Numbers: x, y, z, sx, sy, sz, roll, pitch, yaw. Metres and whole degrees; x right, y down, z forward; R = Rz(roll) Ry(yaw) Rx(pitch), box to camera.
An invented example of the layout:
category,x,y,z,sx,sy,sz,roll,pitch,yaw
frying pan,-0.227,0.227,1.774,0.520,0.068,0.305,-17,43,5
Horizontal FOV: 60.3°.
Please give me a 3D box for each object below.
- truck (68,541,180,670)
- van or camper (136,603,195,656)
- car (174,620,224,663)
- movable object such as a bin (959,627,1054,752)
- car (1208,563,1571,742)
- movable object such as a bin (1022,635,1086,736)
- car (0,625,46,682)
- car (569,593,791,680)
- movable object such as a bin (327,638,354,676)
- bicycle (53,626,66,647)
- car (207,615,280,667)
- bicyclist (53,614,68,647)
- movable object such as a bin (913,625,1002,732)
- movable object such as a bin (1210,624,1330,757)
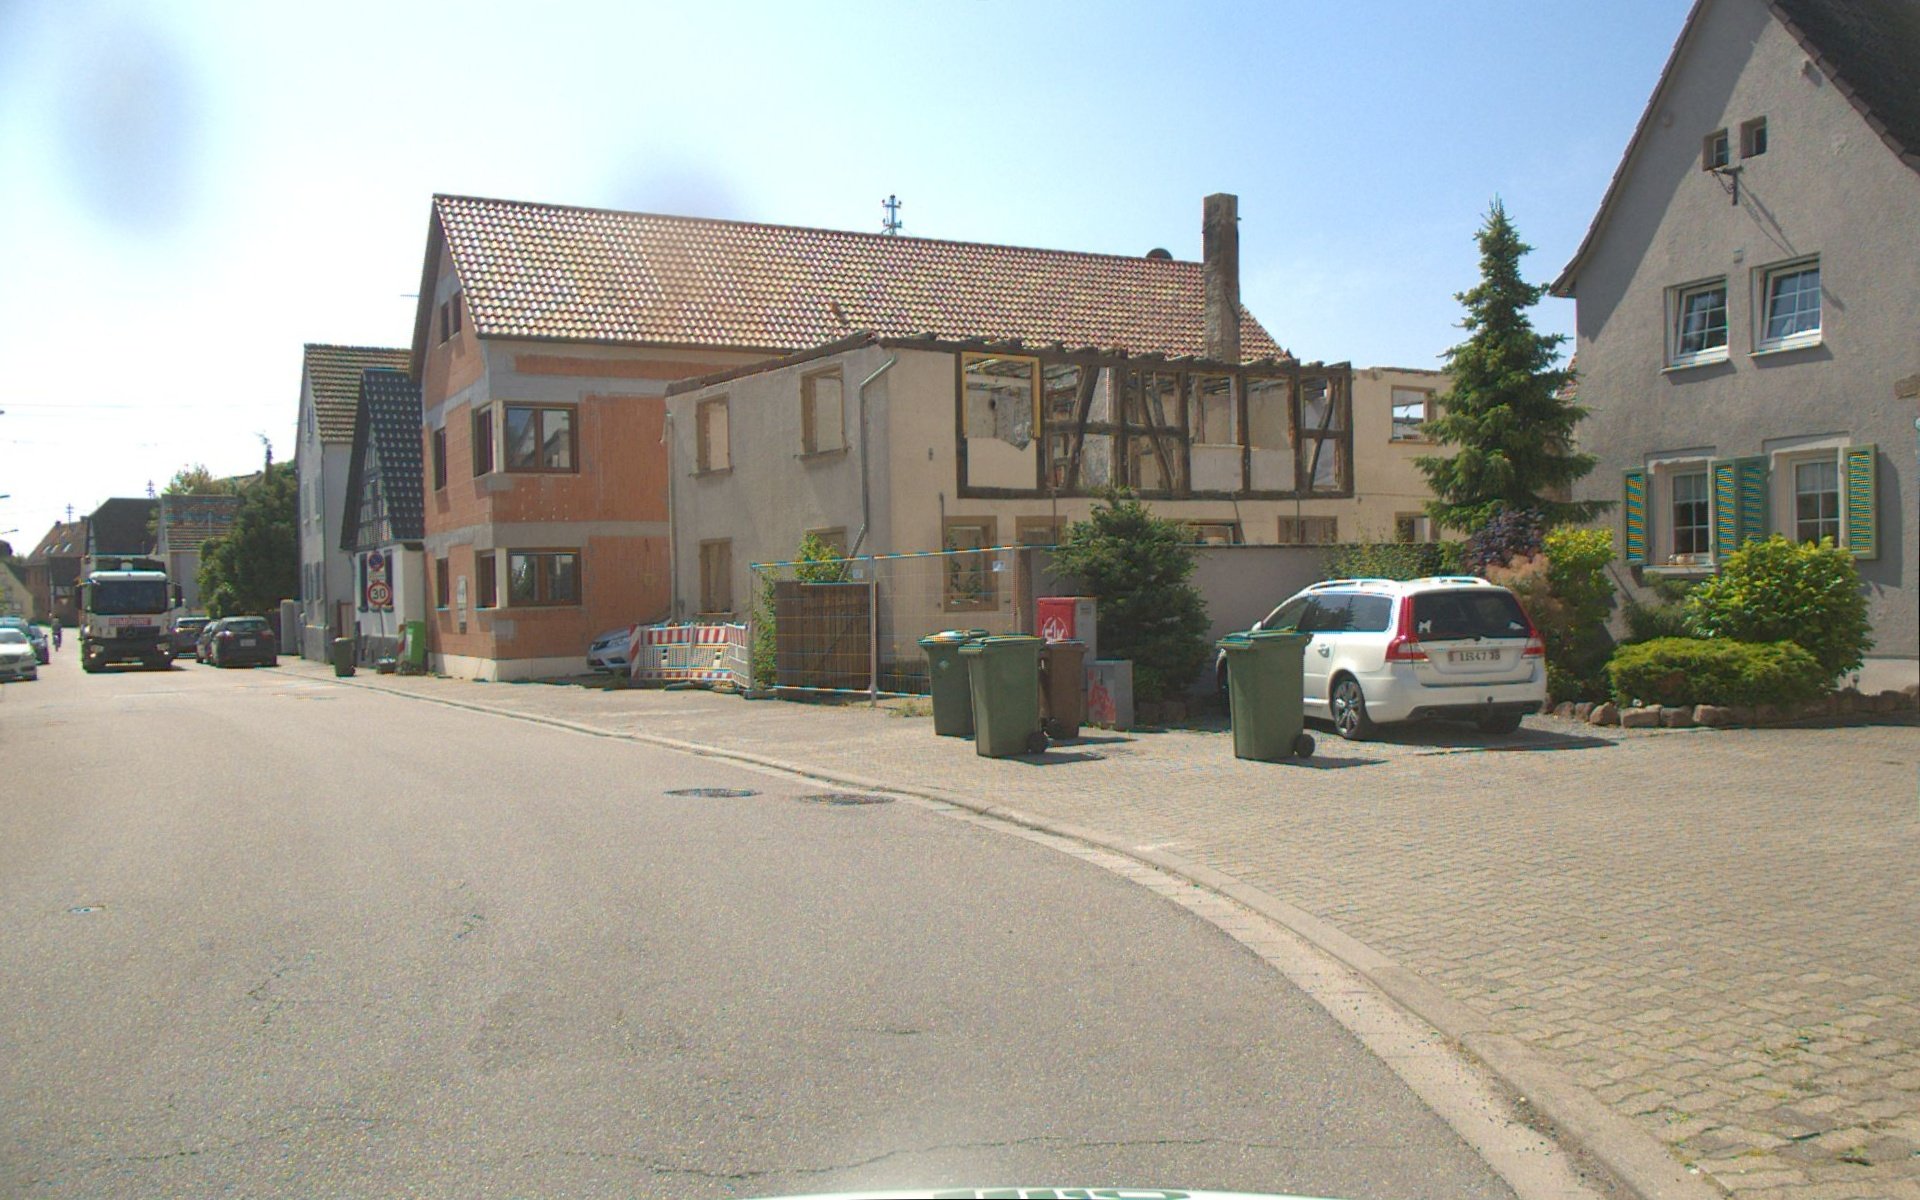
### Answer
category,x,y,z,sx,sy,sz,roll,pitch,yaw
truck,-27.734,0.196,54.617,2.667,3.815,10.758,-2,0,-30
van or camper,-43.096,1.602,89.654,2.496,2.744,4.508,-2,0,-30
car,-31.686,1.699,68.808,1.772,1.659,4.324,-2,0,-26
movable object such as a bin,0.433,0.820,15.480,0.677,1.111,0.633,-1,0,-22
car,4.243,0.465,17.121,1.780,1.555,4.280,-2,0,-14
movable object such as a bin,0.954,0.861,16.806,0.458,0.987,0.493,-1,0,-22
car,-26.864,1.501,46.403,1.818,1.489,4.222,-2,0,-33
car,-5.685,0.708,33.725,4.055,1.533,1.847,-3,0,-35
movable object such as a bin,-15.696,1.440,41.921,0.528,0.929,0.550,-2,0,-13
bicycle,-50.325,2.034,92.443,0.583,1.168,1.928,-2,0,-30
car,-23.703,1.334,54.627,1.778,1.587,4.586,-2,0,-29
bicyclist,-50.365,1.717,92.619,0.696,1.801,0.618,-2,0,-30
movable object such as a bin,-0.022,0.830,17.697,0.657,1.091,0.761,-1,0,28
movable object such as a bin,2.691,0.769,14.404,0.711,1.100,0.749,-1,0,-25
